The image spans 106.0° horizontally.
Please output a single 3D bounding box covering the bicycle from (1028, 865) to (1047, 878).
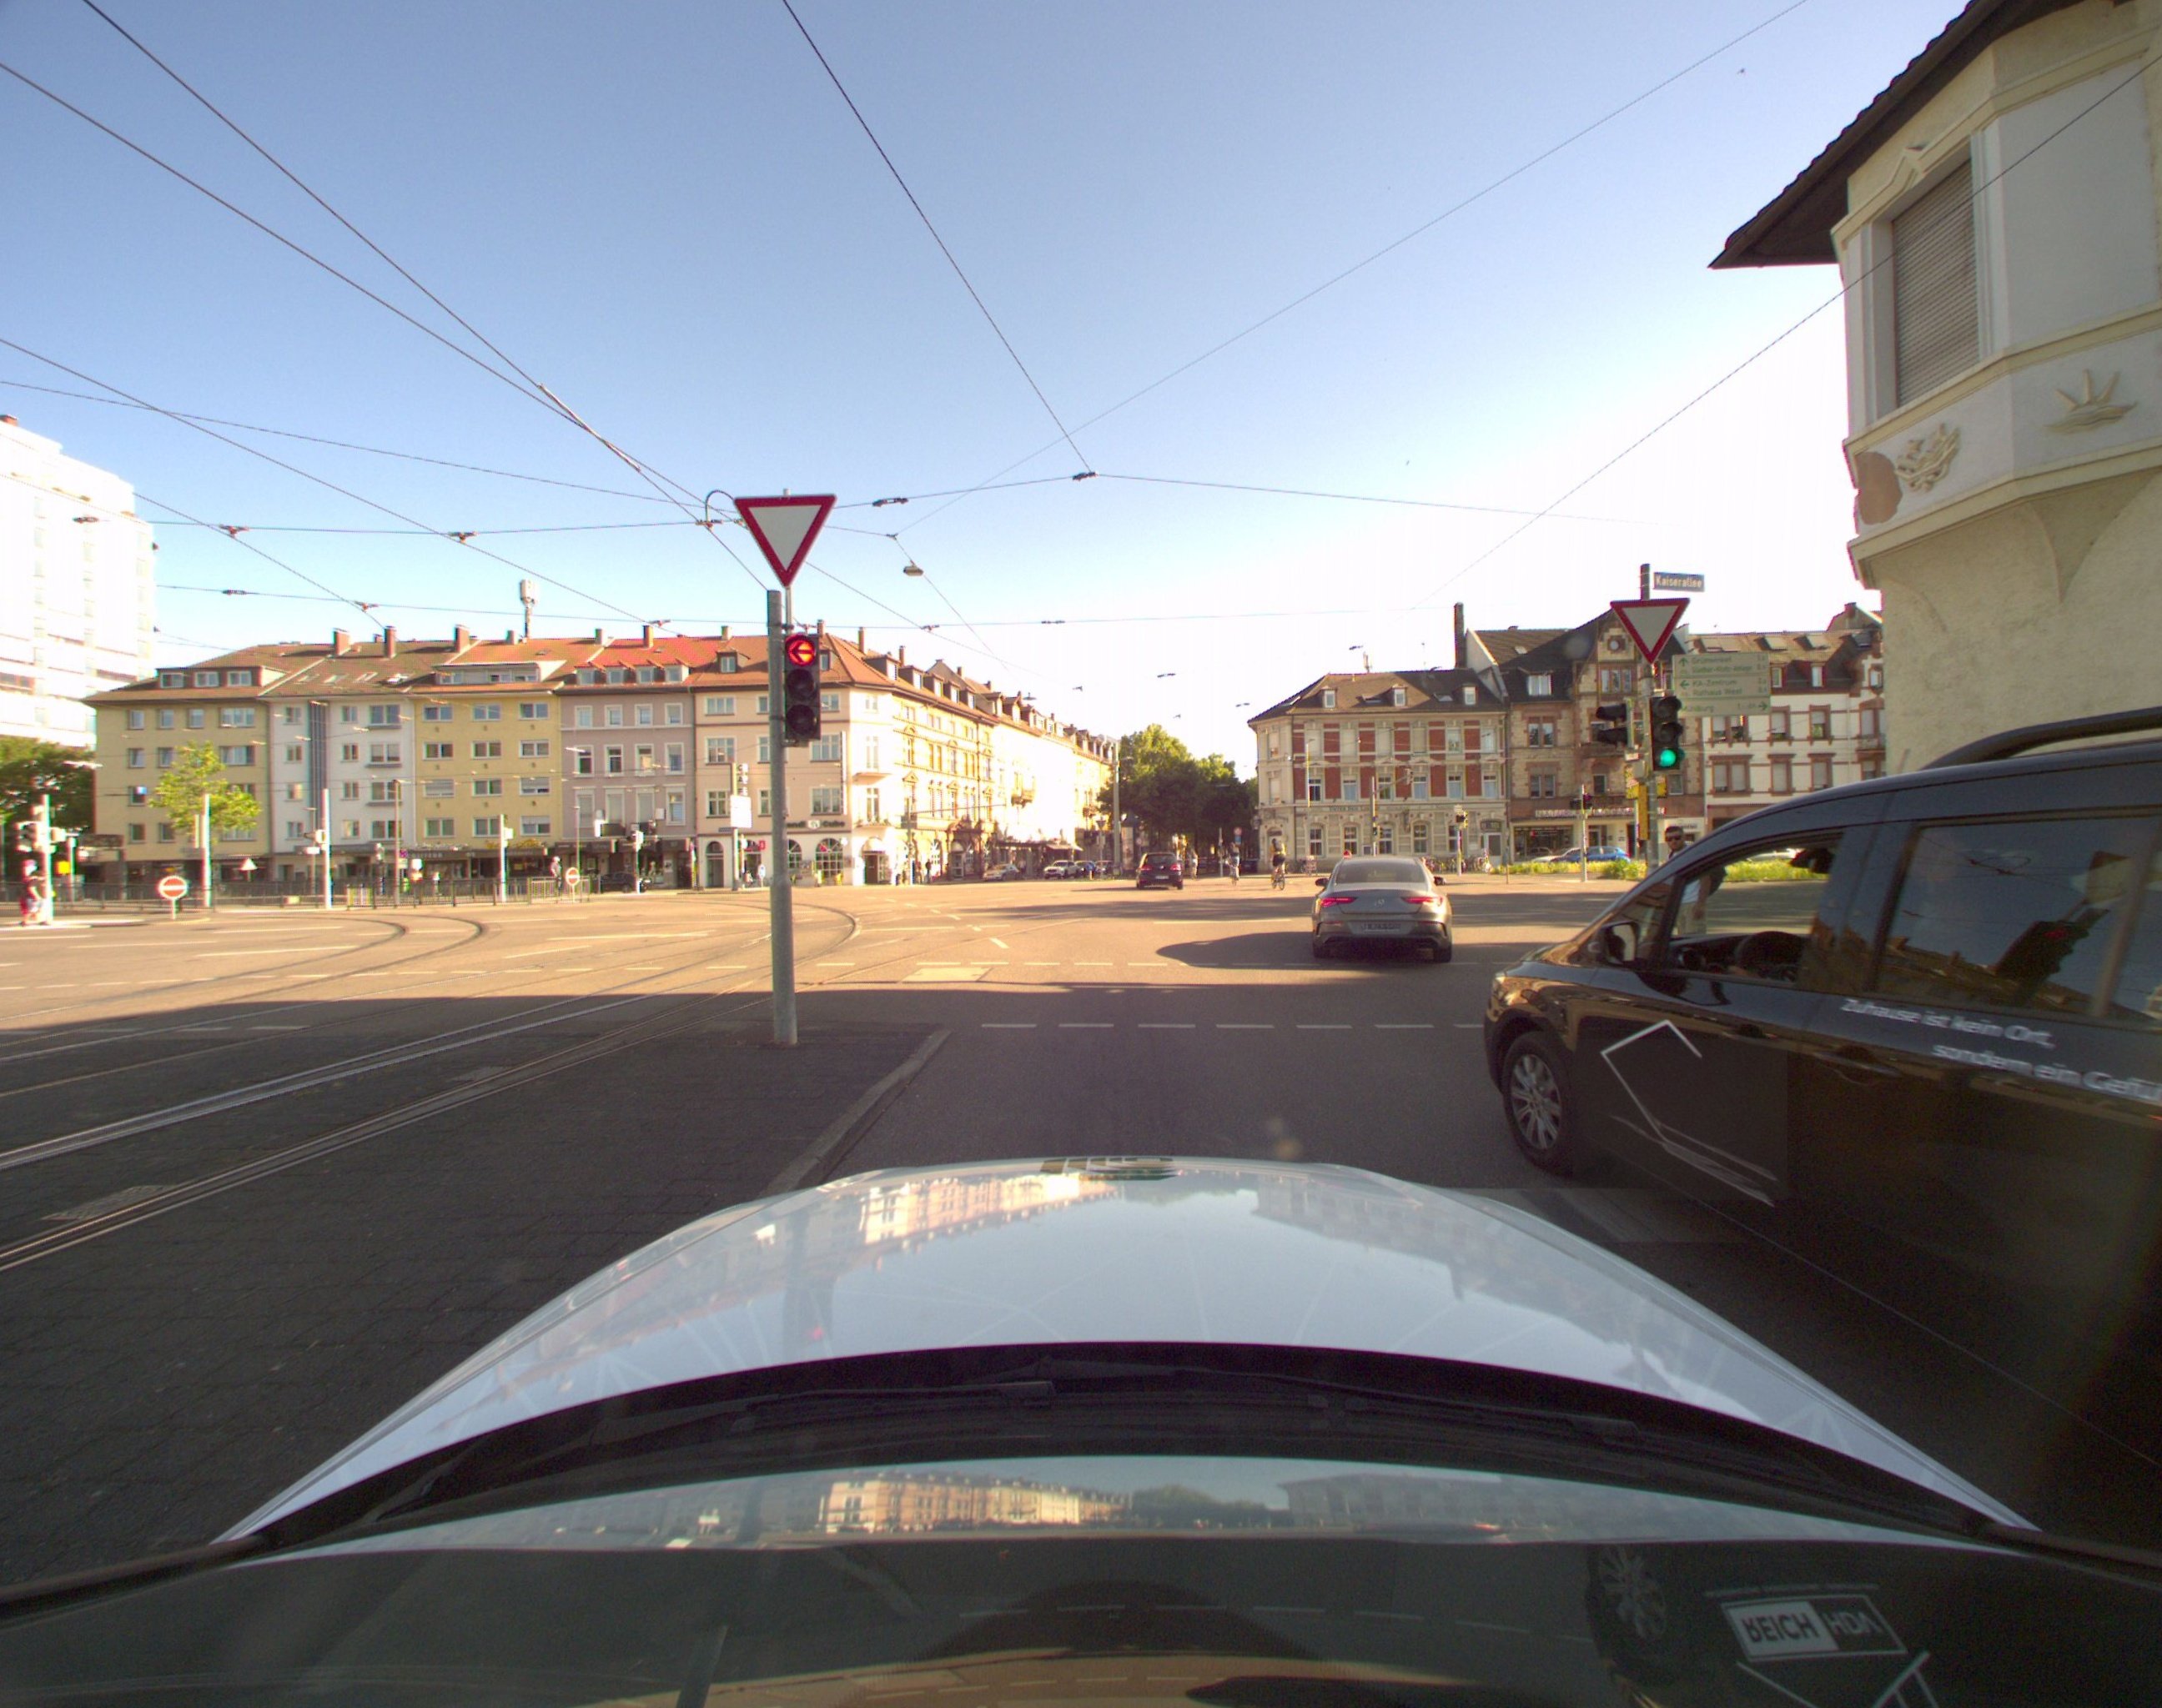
[{"bbox_3d":[-3.751,1.505,70.656,0.644,1.123,2.265,-1,-1,23],"label":"bicycle"}]

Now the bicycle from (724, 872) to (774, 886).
[{"bbox_3d":[-23.422,1.747,57.470,3.118,0.980,1.002,0,-1,1],"label":"bicycle"}]

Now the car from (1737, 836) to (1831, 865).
[{"bbox_3d":[45.314,-0.231,52.571,4.349,1.778,2.000,0,-1,1],"label":"car"}]

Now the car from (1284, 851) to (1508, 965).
[{"bbox_3d":[4.516,0.696,12.491,1.899,1.420,4.496,0,0,3],"label":"car"}]

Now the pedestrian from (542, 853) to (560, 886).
[{"bbox_3d":[-27.086,0.788,41.593,0.523,1.628,0.577,0,-1,0],"label":"pedestrian"}]

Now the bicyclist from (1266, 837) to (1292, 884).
[{"bbox_3d":[7.126,0.228,29.278,0.799,1.663,0.888,-1,-1,19],"label":"bicyclist"}]

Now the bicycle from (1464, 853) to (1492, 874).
[{"bbox_3d":[25.505,0.609,52.386,0.626,1.287,2.663,0,-1,3],"label":"bicycle"}]

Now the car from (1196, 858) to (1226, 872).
[{"bbox_3d":[18.344,1.557,114.728,3.955,1.904,2.009,-1,-1,17],"label":"car"}]

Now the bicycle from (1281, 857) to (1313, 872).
[{"bbox_3d":[15.085,0.741,56.940,2.040,0.998,0.631,-2,-1,4],"label":"bicycle"}]

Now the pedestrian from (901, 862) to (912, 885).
[{"bbox_3d":[-12.394,1.361,57.708,0.631,1.634,0.700,0,-1,-2],"label":"pedestrian"}]

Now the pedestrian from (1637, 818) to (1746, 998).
[{"bbox_3d":[6.355,0.545,8.492,0.589,1.756,0.635,-5,-1,-37],"label":"pedestrian"}]

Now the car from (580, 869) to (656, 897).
[{"bbox_3d":[-30.586,1.917,53.822,3.962,1.670,2.006,-2,0,10],"label":"car"}]

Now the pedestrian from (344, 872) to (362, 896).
[{"bbox_3d":[-51.564,2.129,57.667,0.631,1.634,0.700,0,-1,-2],"label":"pedestrian"}]

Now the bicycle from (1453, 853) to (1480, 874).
[{"bbox_3d":[24.777,0.613,52.390,0.626,1.287,2.663,0,-1,3],"label":"bicycle"}]

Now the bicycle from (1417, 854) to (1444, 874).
[{"bbox_3d":[22.492,0.625,52.451,0.689,1.287,2.663,0,-1,3],"label":"bicycle"}]

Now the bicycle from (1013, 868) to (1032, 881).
[{"bbox_3d":[-4.729,1.633,65.561,0.756,1.008,2.406,-1,-1,16],"label":"bicycle"}]

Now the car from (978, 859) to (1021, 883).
[{"bbox_3d":[-6.705,1.366,67.462,1.977,1.904,4.019,-1,-1,19],"label":"car"}]

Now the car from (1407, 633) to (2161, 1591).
[{"bbox_3d":[3.007,0.493,2.953,1.854,1.805,4.781,0,-1,2],"label":"car"}]

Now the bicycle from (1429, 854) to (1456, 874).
[{"bbox_3d":[23.264,0.630,52.425,0.689,1.287,2.663,0,-1,3],"label":"bicycle"}]

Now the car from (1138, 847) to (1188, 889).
[{"bbox_3d":[3.256,0.527,32.766,1.722,1.508,4.053,0,1,2],"label":"car"}]

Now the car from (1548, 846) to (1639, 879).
[{"bbox_3d":[28.346,0.459,45.139,3.769,1.778,2.000,0,-1,1],"label":"car"}]

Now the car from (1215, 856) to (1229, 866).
[{"bbox_3d":[23.264,1.123,134.261,1.546,1.513,3.673,-1,-1,19],"label":"car"}]

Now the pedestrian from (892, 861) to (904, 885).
[{"bbox_3d":[-12.630,1.336,56.192,0.631,1.634,0.700,0,-1,-2],"label":"pedestrian"}]

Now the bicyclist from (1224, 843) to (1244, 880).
[{"bbox_3d":[6.672,0.326,35.529,0.801,1.606,0.885,0,-1,7],"label":"bicyclist"}]

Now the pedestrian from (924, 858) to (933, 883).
[{"bbox_3d":[-11.555,1.269,61.685,0.460,1.881,0.637,-1,-1,12],"label":"pedestrian"}]

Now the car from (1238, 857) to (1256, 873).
[{"bbox_3d":[16.822,1.101,82.366,1.680,1.565,3.855,-1,-1,14],"label":"car"}]

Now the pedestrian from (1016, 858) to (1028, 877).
[{"bbox_3d":[-4.757,1.103,65.493,0.814,1.512,0.601,-1,-1,16],"label":"pedestrian"}]

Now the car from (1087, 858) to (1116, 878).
[{"bbox_3d":[2.070,1.400,79.923,1.979,1.904,4.015,-1,-1,14],"label":"car"}]

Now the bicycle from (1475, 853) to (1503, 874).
[{"bbox_3d":[26.200,0.604,52.357,0.626,1.287,2.663,0,-1,3],"label":"bicycle"}]

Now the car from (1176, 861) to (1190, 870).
[{"bbox_3d":[16.993,1.950,135.872,1.546,1.513,3.673,-1,-1,19],"label":"car"}]

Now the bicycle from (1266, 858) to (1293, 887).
[{"bbox_3d":[7.195,0.646,29.513,0.748,1.031,1.789,-1,-1,20],"label":"bicycle"}]

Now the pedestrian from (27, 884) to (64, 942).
[{"bbox_3d":[-30.792,1.744,24.221,0.590,1.664,0.518,0,-1,-44],"label":"pedestrian"}]

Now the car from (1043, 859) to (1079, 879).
[{"bbox_3d":[-1.644,1.240,67.408,1.979,1.618,4.015,-1,-1,14],"label":"car"}]

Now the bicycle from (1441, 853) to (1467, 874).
[{"bbox_3d":[23.987,0.613,52.418,0.626,1.287,2.663,0,-1,3],"label":"bicycle"}]

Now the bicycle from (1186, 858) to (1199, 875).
[{"bbox_3d":[7.037,0.786,51.408,0.647,1.031,1.772,0,-1,2],"label":"bicycle"}]

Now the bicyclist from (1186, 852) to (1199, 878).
[{"bbox_3d":[7.035,0.683,51.401,0.687,1.633,0.884,0,-1,1],"label":"bicyclist"}]

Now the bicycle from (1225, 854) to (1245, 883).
[{"bbox_3d":[6.687,0.625,35.522,0.751,1.236,1.706,-1,-1,7],"label":"bicycle"}]

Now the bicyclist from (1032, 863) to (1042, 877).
[{"bbox_3d":[-3.776,1.378,70.561,0.626,1.185,0.689,-1,-1,23],"label":"bicyclist"}]

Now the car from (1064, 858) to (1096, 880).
[{"bbox_3d":[-0.070,1.368,73.902,1.979,1.904,4.015,-1,-1,14],"label":"car"}]

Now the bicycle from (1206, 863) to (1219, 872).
[{"bbox_3d":[15.999,1.645,98.867,0.630,1.085,1.687,0,-1,-28],"label":"bicycle"}]
